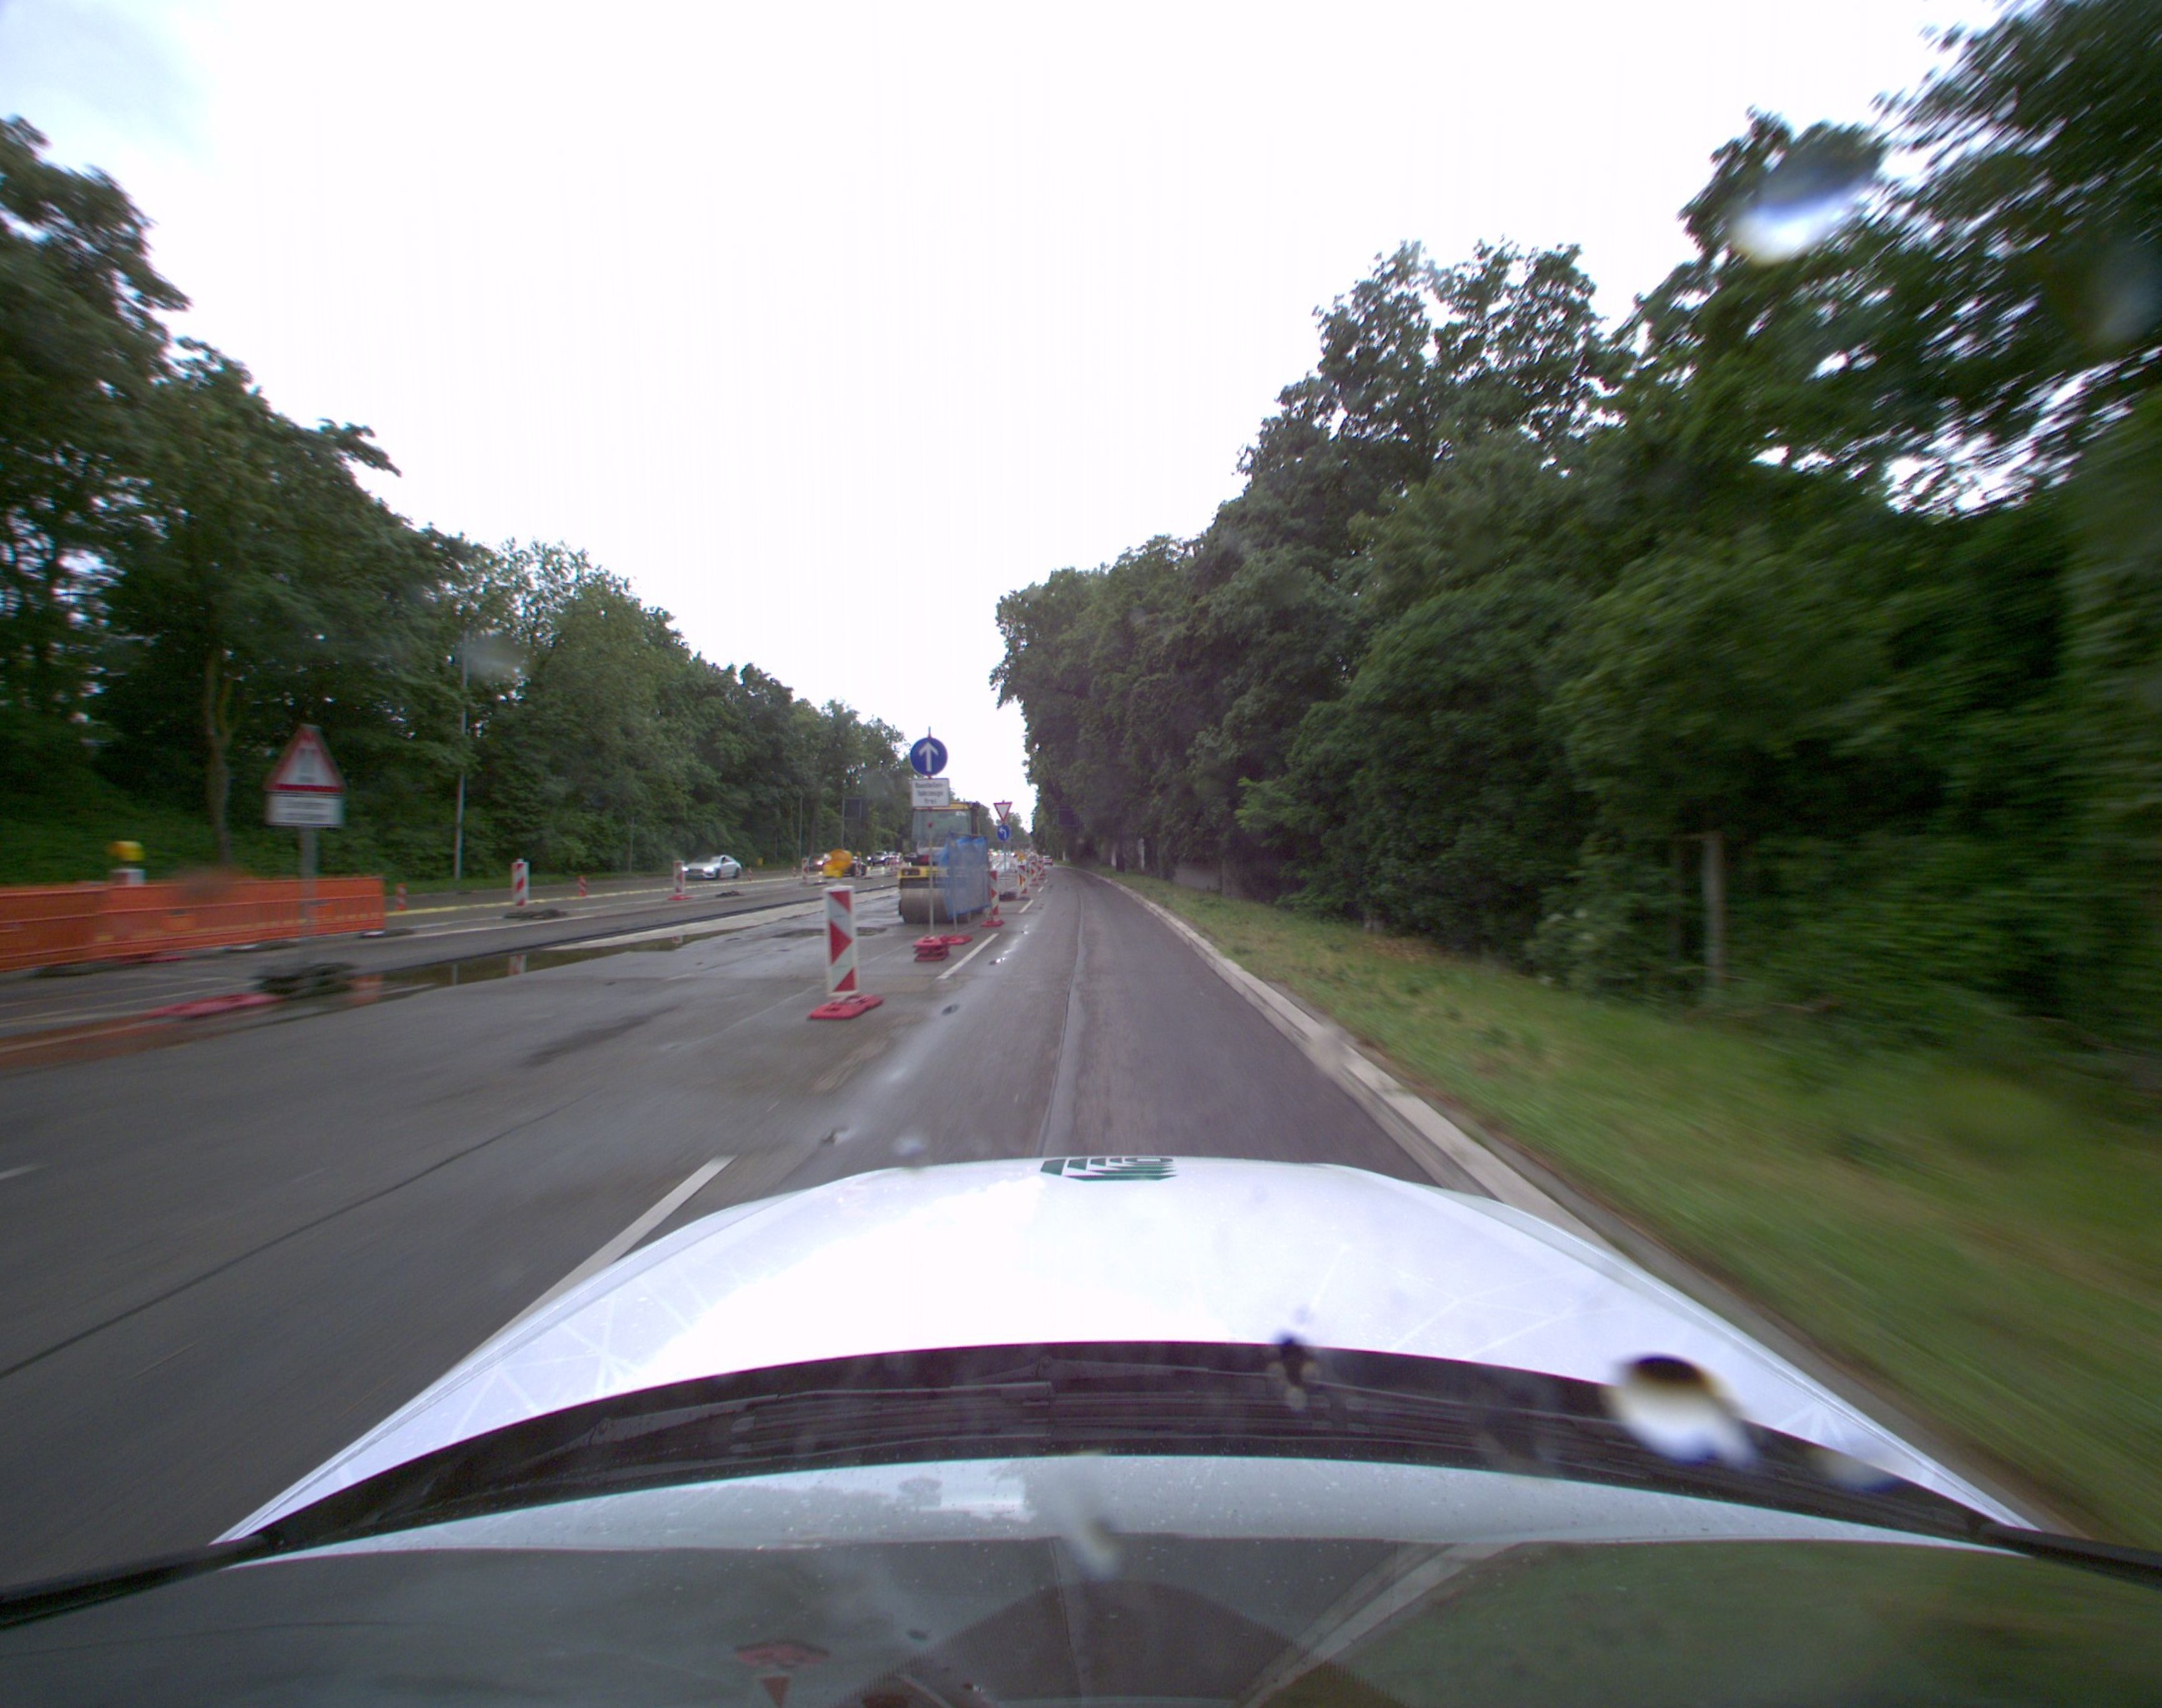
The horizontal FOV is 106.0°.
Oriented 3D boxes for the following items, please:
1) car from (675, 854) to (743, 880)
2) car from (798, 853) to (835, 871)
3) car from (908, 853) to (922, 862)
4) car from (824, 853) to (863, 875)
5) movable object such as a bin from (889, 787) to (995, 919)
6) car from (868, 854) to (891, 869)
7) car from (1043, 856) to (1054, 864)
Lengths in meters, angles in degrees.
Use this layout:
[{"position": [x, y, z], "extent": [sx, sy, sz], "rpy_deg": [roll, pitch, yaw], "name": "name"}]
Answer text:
[{"position": [-20.951, 0.709, 46.027], "extent": [1.778, 1.426, 4.468], "rpy_deg": [0, 0, 0], "name": "car"}, {"position": [-22.357, 0.637, 68.988], "extent": [1.780, 1.452, 4.677], "rpy_deg": [0, 0, -2], "name": "car"}, {"position": [-27.583, 0.552, 135.247], "extent": [1.663, 1.541, 4.153], "rpy_deg": [-2, 0, -3], "name": "car"}, {"position": [-15.635, 0.637, 53.759], "extent": [1.604, 1.404, 4.035], "rpy_deg": [1, 0, -4], "name": "car"}, {"position": [-3.427, -0.011, 21.109], "extent": [1.798, 2.985, 5.245], "rpy_deg": [0, 0, 0], "name": "movable object such as a bin"}, {"position": [-23.550, 0.815, 95.337], "extent": [1.773, 1.663, 4.908], "rpy_deg": [-1, 0, -4], "name": "car"}, {"position": [-5.145, 0.955, 128.494], "extent": [1.694, 1.336, 3.486], "rpy_deg": [-1, 0, -4], "name": "car"}]
